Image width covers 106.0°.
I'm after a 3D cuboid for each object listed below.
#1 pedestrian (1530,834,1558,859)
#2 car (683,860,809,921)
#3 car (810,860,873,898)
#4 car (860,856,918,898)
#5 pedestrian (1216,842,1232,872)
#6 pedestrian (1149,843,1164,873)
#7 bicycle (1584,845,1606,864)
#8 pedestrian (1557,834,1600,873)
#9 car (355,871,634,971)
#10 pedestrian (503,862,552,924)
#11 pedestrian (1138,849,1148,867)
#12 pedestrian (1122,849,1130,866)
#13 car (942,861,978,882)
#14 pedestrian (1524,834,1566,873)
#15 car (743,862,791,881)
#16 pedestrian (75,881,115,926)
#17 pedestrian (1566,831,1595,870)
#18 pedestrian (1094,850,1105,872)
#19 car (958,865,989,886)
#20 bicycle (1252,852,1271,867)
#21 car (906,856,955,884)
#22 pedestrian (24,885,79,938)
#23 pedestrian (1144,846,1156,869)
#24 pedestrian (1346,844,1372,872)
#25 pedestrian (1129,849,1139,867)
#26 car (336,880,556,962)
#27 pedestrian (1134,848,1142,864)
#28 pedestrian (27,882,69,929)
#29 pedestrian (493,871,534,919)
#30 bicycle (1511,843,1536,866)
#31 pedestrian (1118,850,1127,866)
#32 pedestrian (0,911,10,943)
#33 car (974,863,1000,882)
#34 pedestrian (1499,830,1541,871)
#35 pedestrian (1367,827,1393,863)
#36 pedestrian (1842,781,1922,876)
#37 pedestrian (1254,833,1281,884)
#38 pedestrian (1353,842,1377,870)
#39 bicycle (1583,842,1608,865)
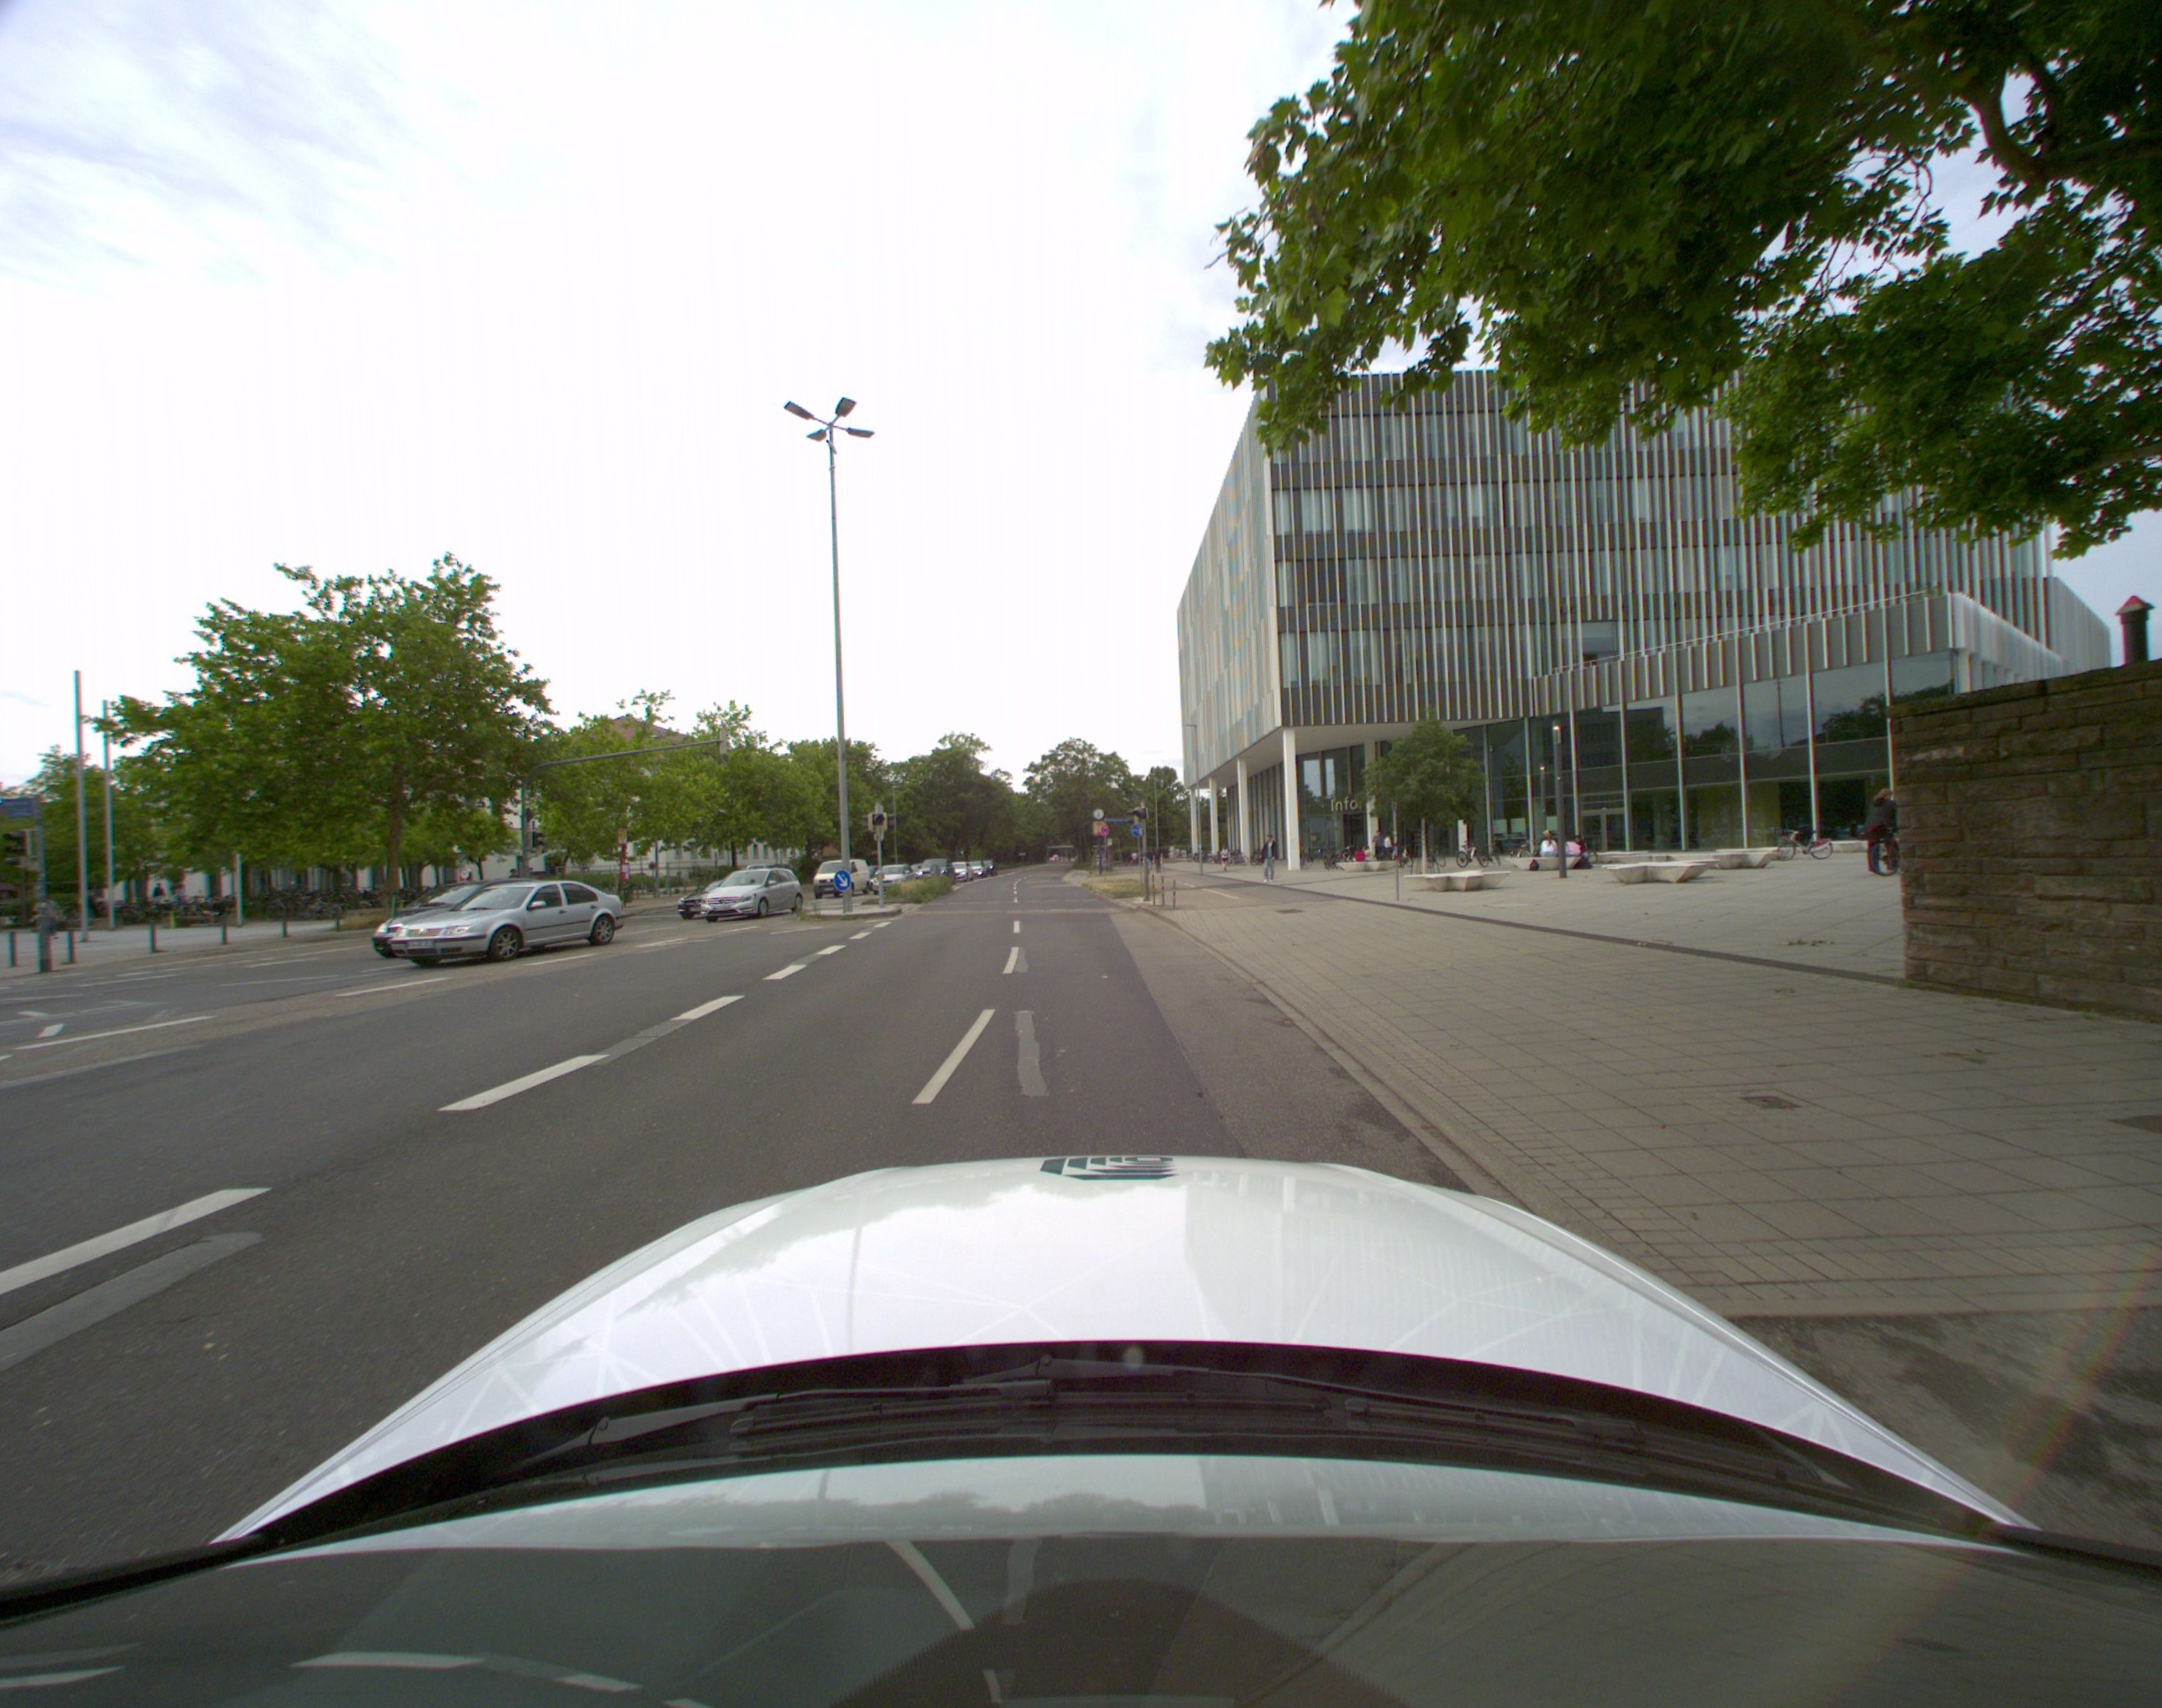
[{"bbox_3d":[15.989,-0.250,28.133,0.629,0.823,0.736,-3,-1,16],"label":"pedestrian"},{"bbox_3d":[-10.513,1.083,25.939,1.949,1.584,4.260,-4,0,3],"label":"car"},{"bbox_3d":[-12.456,1.281,42.705,1.764,1.848,4.492,-1,0,3],"label":"car"},{"bbox_3d":[-10.128,1.163,43.243,1.987,2.013,4.000,-3,0,0],"label":"car"},{"bbox_3d":[8.994,0.202,51.120,0.839,1.836,0.895,-3,0,4],"label":"pedestrian"},{"bbox_3d":[5.276,0.290,56.733,0.839,2.013,0.895,-4,-1,2],"label":"pedestrian"},{"bbox_3d":[21.335,0.027,33.791,1.193,0.691,0.484,-4,1,-44],"label":"bicycle"},{"bbox_3d":[16.487,-0.026,27.030,0.905,1.257,0.879,-1,0,3],"label":"pedestrian"},{"bbox_3d":[-11.157,1.191,15.965,1.983,1.529,4.282,-3,0,7],"label":"car"},{"bbox_3d":[-18.547,1.286,27.315,0.891,2.013,1.009,-3,0,-2],"label":"pedestrian"},{"bbox_3d":[7.033,0.409,92.863,0.924,2.013,1.038,-3,0,-4],"label":"pedestrian"},{"bbox_3d":[5.732,0.444,102.731,0.822,2.013,0.719,-3,-1,-4],"label":"pedestrian"},{"bbox_3d":[-9.094,1.270,61.424,1.897,1.465,4.911,-1,0,0],"label":"car"},{"bbox_3d":[15.332,-0.014,26.907,0.905,1.257,0.879,-1,0,3],"label":"pedestrian"},{"bbox_3d":[-27.495,1.510,71.369,3.576,1.601,1.651,-1,0,-2],"label":"car"},{"bbox_3d":[-46.330,2.324,38.266,0.890,2.013,0.797,-3,-1,7],"label":"pedestrian"},{"bbox_3d":[16.727,-0.107,27.291,0.641,1.278,0.647,-1,0,14],"label":"pedestrian"},{"bbox_3d":[1.790,0.668,78.041,0.909,2.013,0.853,-4,2,-1],"label":"pedestrian"},{"bbox_3d":[-9.237,1.820,70.461,1.987,1.547,4.179,-4,0,0],"label":"car"},{"bbox_3d":[12.726,0.383,57.441,1.496,0.929,0.435,-3,1,-39],"label":"bicycle"},{"bbox_3d":[-9.689,0.996,52.790,1.985,1.687,4.951,-1,0,3],"label":"car"},{"bbox_3d":[-40.569,2.244,32.111,0.794,2.013,1.091,-3,-1,-17],"label":"pedestrian"},{"bbox_3d":[6.133,0.319,72.429,0.840,2.013,0.894,-2,0,0],"label":"pedestrian"},{"bbox_3d":[12.493,0.191,36.547,0.834,1.206,0.900,-3,-1,34],"label":"pedestrian"},{"bbox_3d":[6.081,0.467,93.008,0.924,2.013,1.038,-3,0,-4],"label":"pedestrian"},{"bbox_3d":[-14.114,1.425,18.412,1.844,1.463,3.701,-3,0,4],"label":"car"},{"bbox_3d":[7.198,0.266,102.807,0.821,2.013,0.720,-3,-1,-1],"label":"pedestrian"},{"bbox_3d":[-46.213,2.311,36.438,0.785,2.013,0.995,-3,-1,29],"label":"pedestrian"},{"bbox_3d":[-22.542,1.611,32.393,0.893,1.803,0.935,-3,-1,-3],"label":"pedestrian"},{"bbox_3d":[19.220,0.015,35.369,1.365,0.899,0.536,-3,0,-44],"label":"bicycle"},{"bbox_3d":[5.178,0.472,102.575,0.924,2.013,1.038,-3,0,-4],"label":"pedestrian"},{"bbox_3d":[-49.056,3.322,36.562,0.890,1.418,0.797,-3,-1,7],"label":"pedestrian"},{"bbox_3d":[-9.163,1.781,79.420,1.896,1.593,4.516,-3,0,0],"label":"car"},{"bbox_3d":[14.958,-0.107,27.786,0.909,1.367,0.876,-1,0,-10],"label":"pedestrian"},{"bbox_3d":[17.280,-0.493,47.123,1.175,2.062,1.137,-1,0,7],"label":"pedestrian"},{"bbox_3d":[16.633,-0.517,16.934,0.738,1.886,0.884,-3,0,-18],"label":"pedestrian"},{"bbox_3d":[7.491,0.187,32.776,0.839,2.013,0.895,-3,0,2],"label":"pedestrian"},{"bbox_3d":[12.942,0.087,37.147,0.885,1.193,0.848,-3,0,14],"label":"pedestrian"},{"bbox_3d":[21.386,-0.040,33.850,1.560,0.899,0.503,-3,0,-44],"label":"bicycle"}]
